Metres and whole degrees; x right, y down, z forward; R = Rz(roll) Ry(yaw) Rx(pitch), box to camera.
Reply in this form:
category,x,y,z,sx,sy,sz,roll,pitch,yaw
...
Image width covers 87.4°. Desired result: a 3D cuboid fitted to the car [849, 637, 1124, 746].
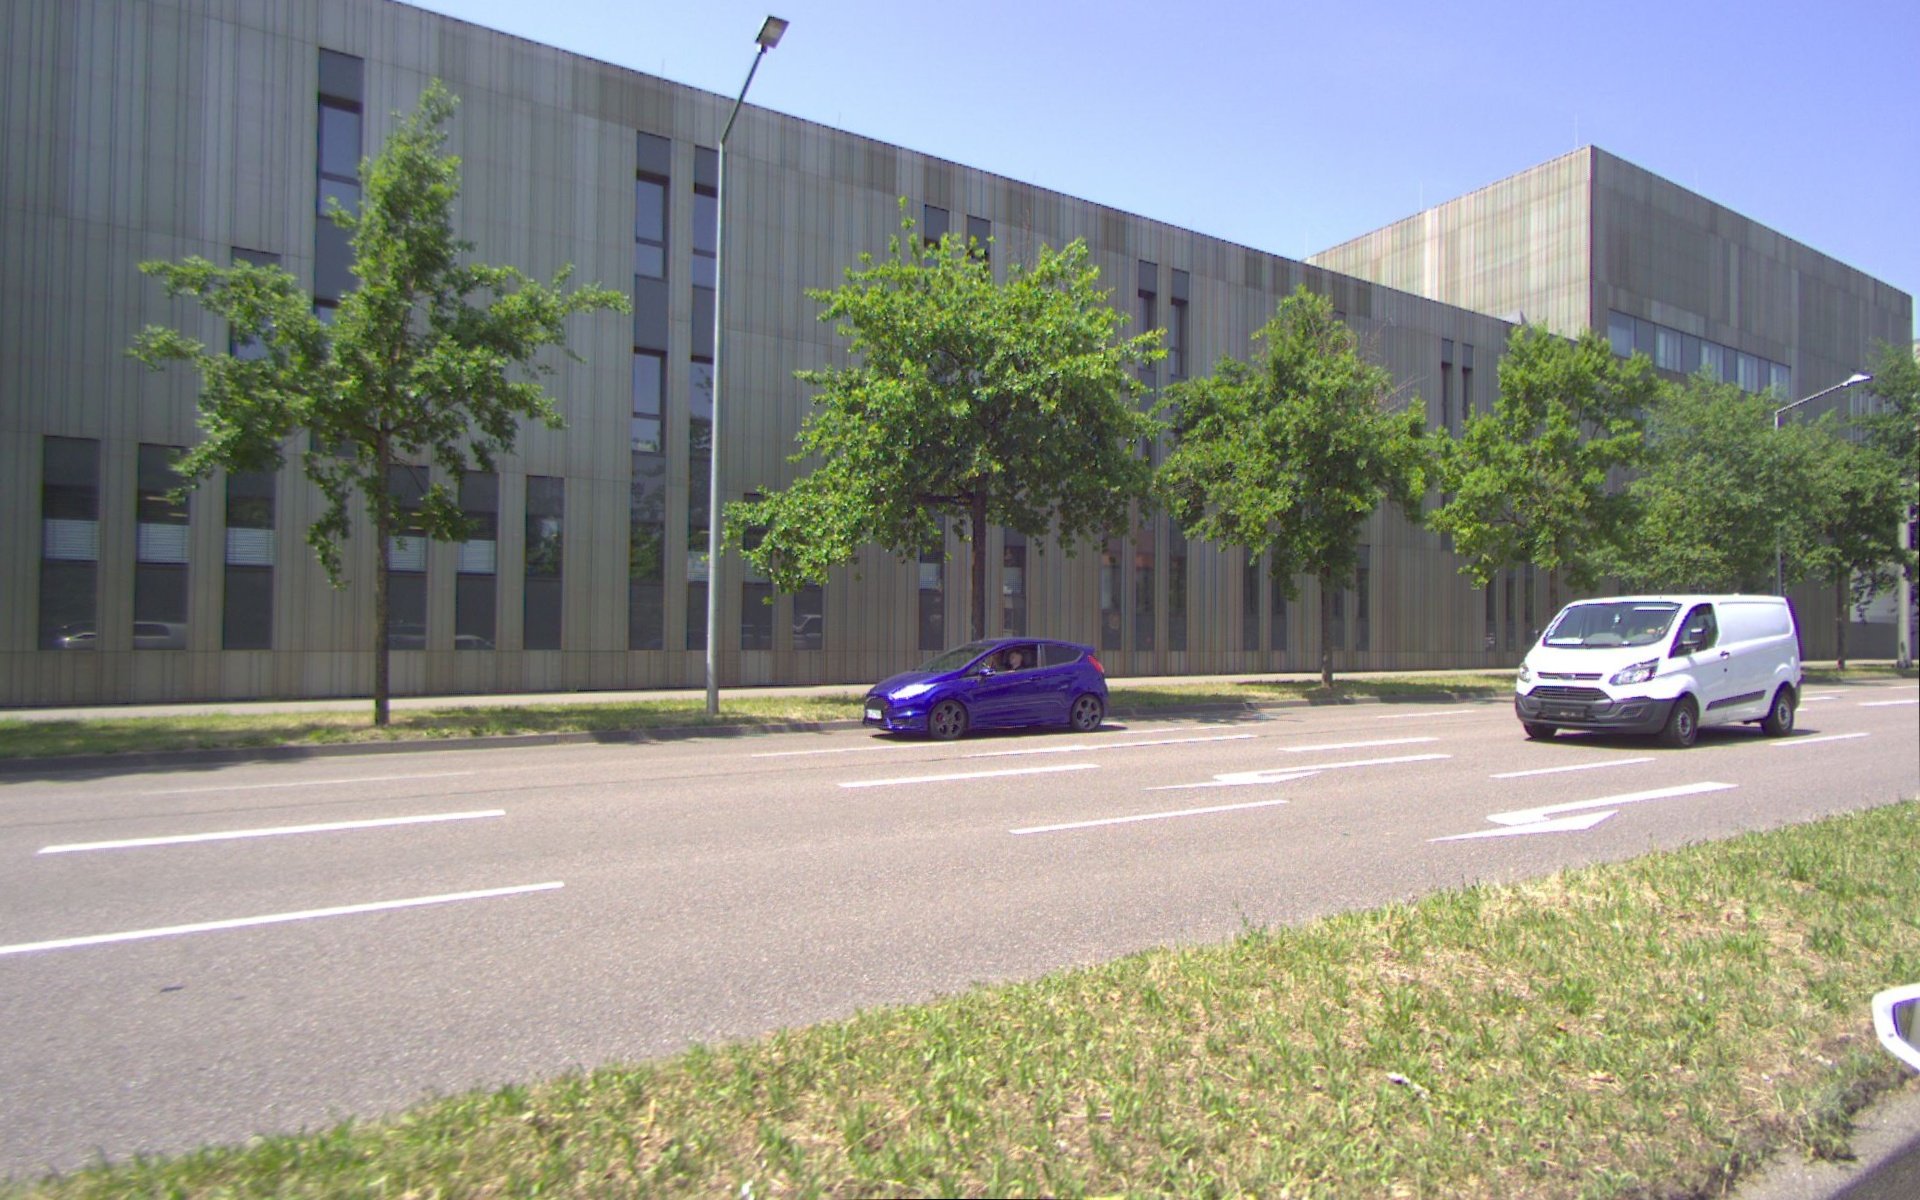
category,x,y,z,sx,sy,sz,roll,pitch,yaw
car,0.448,1.300,15.345,3.971,1.475,1.613,1,-2,-31

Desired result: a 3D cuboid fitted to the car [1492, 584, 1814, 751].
category,x,y,z,sx,sy,sz,roll,pitch,yaw
car,9.877,0.899,14.217,4.841,2.019,1.900,1,-3,-31
